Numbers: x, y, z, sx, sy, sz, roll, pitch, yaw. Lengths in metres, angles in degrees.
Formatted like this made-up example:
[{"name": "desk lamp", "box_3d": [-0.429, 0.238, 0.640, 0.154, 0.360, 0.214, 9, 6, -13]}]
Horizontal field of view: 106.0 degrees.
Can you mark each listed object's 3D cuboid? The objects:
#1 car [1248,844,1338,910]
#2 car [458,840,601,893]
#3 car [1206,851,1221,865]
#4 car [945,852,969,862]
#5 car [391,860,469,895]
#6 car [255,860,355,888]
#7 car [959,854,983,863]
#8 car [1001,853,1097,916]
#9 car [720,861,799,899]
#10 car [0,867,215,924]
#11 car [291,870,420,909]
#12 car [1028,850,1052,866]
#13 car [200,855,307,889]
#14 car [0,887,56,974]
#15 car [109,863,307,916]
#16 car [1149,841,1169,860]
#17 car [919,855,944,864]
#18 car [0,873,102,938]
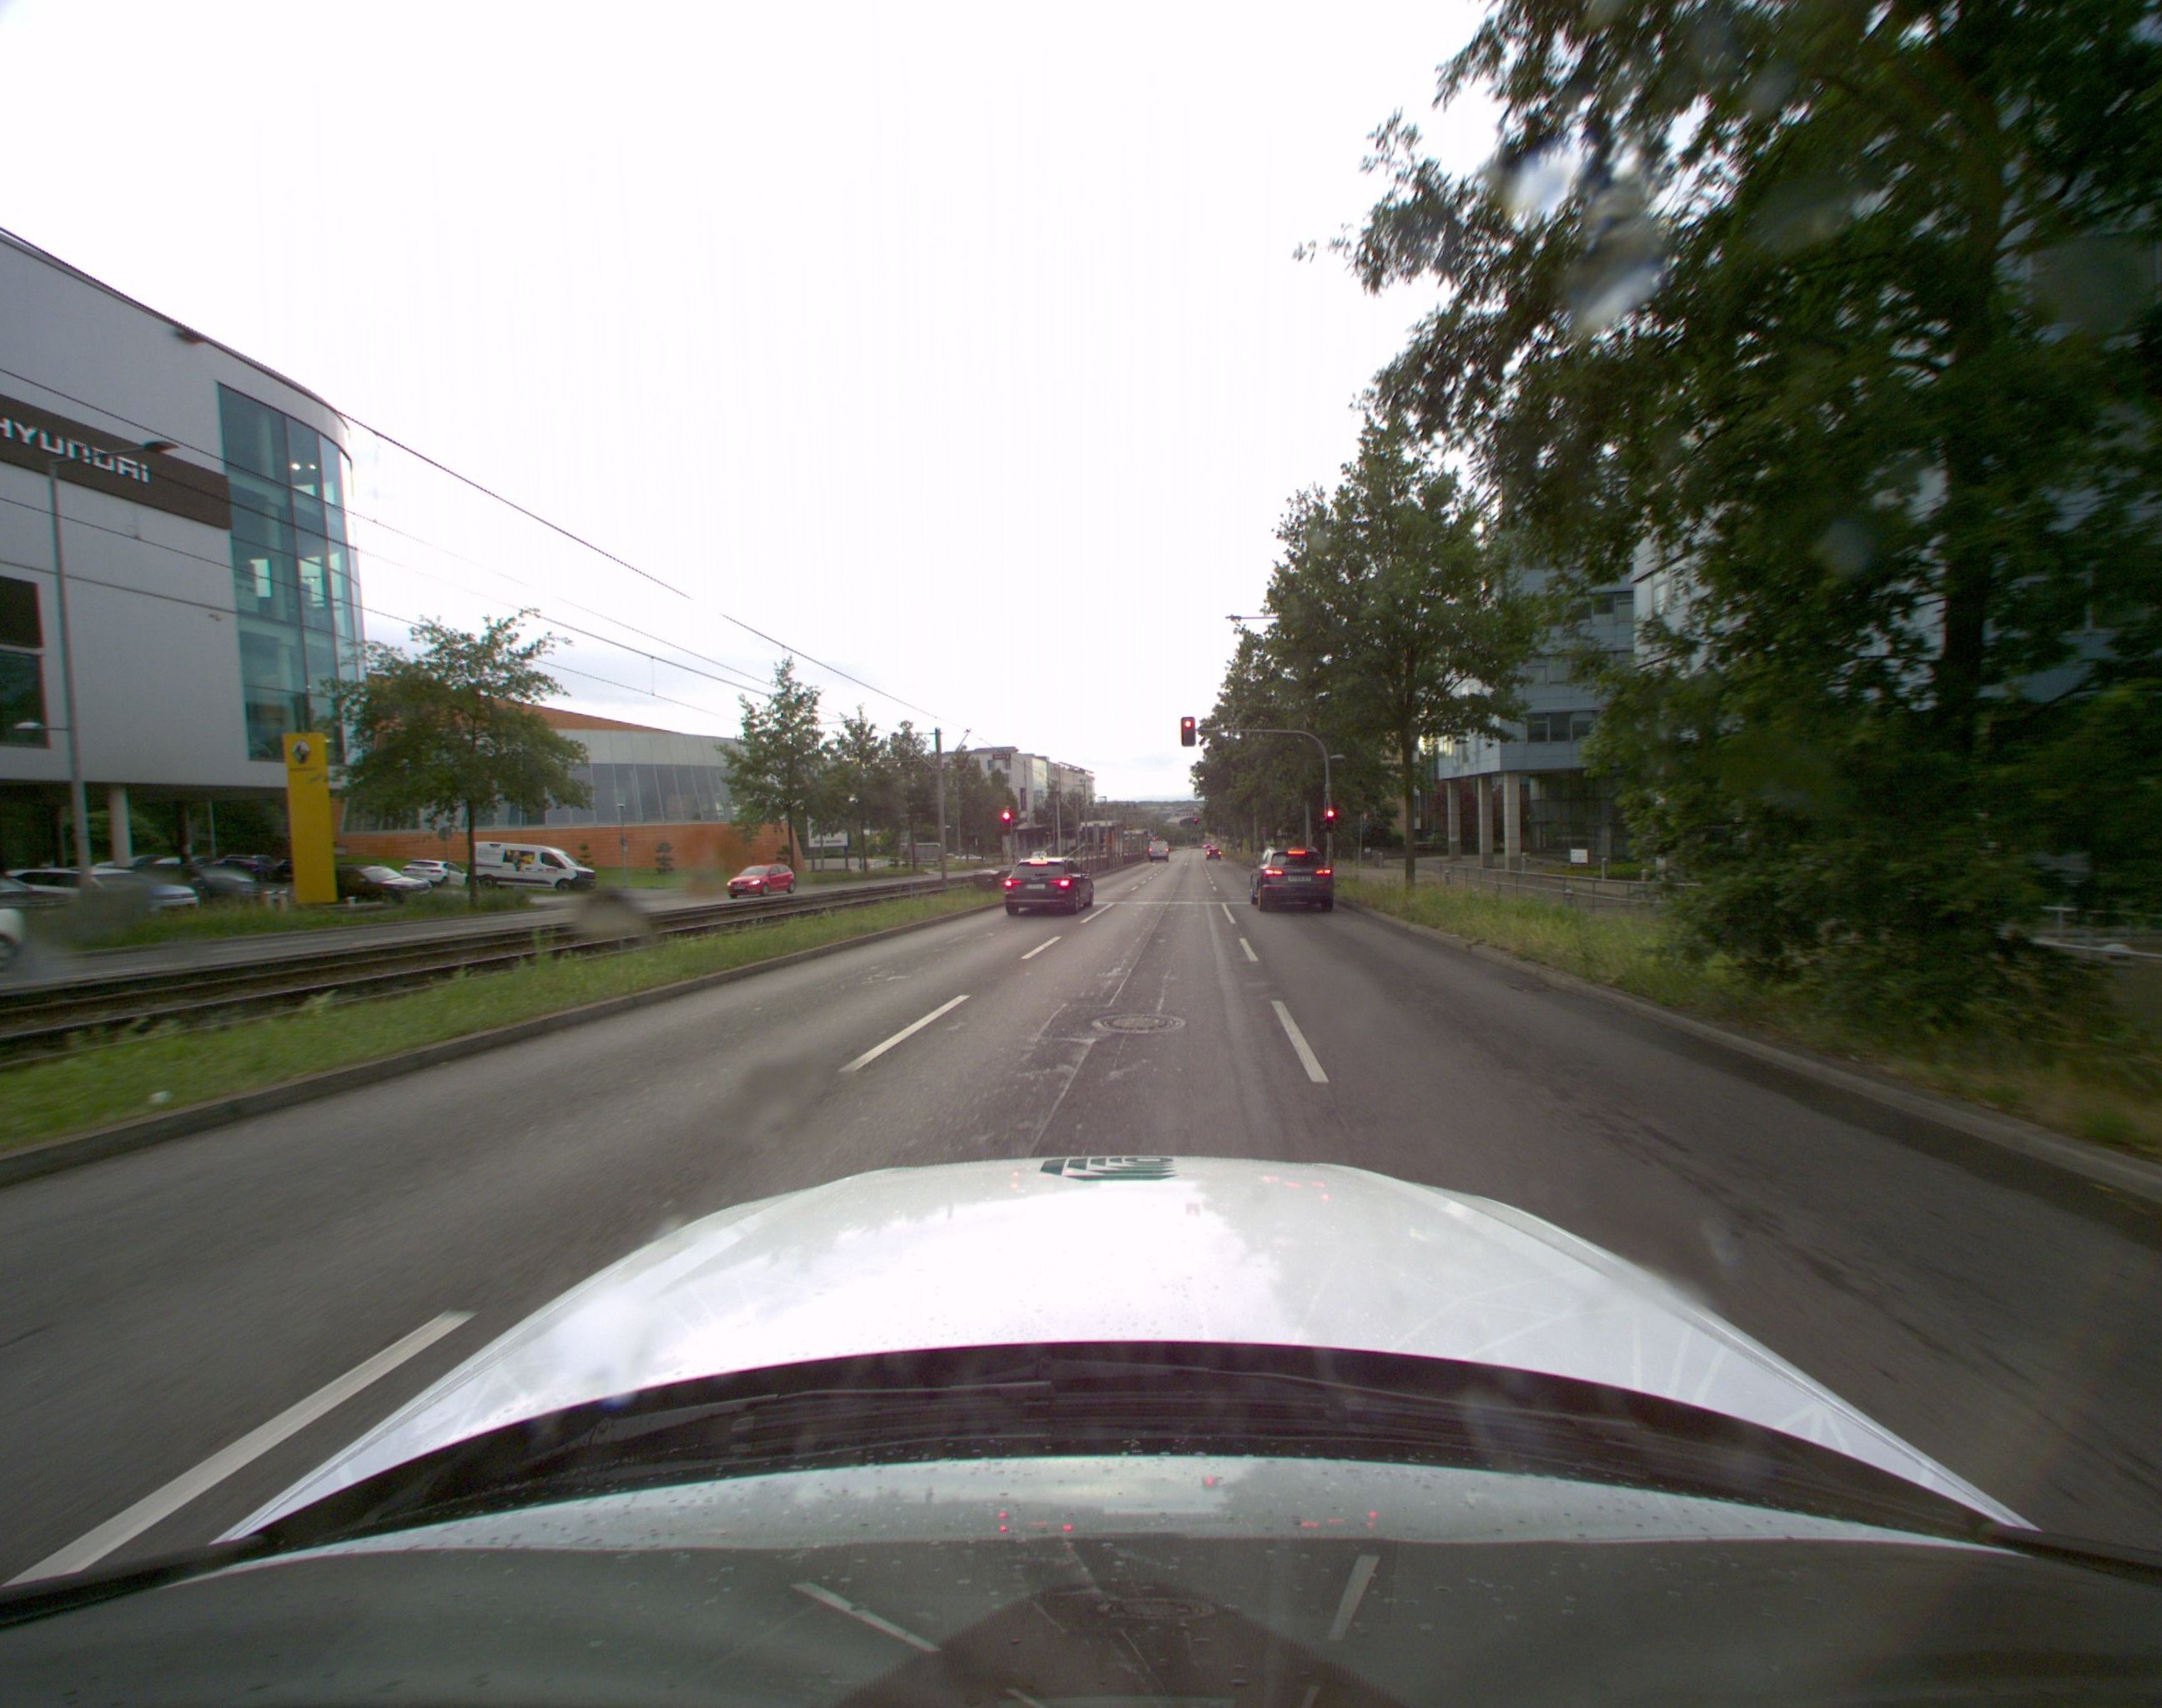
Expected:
[{"name": "car", "box_3d": [5.647, 0.558, 22.181, 1.808, 1.612, 4.480, -1, 0, 8]}, {"name": "car", "box_3d": [-28.690, 0.635, 42.608, 5.605, 2.581, 2.397, 1, 0, -10]}, {"name": "car", "box_3d": [16.460, 0.486, 101.433, 1.764, 1.691, 3.854, -1, 0, 8]}, {"name": "car", "box_3d": [-22.188, 0.526, 146.008, 4.085, 1.436, 1.652, -3, 0, -7]}, {"name": "car", "box_3d": [-33.709, 1.181, 42.276, 1.727, 1.665, 3.731, 0, 0, -14]}, {"name": "car", "box_3d": [-40.326, 0.996, 42.458, 1.996, 1.280, 3.982, -1, 0, -13]}, {"name": "car", "box_3d": [-19.342, 0.812, 143.097, 3.849, 1.436, 1.658, -3, 0, 5]}, {"name": "car", "box_3d": [-0.729, 0.726, 21.613, 1.770, 1.466, 4.523, -1, 0, 8]}, {"name": "car", "box_3d": [-14.646, 1.133, 37.323, 1.576, 1.513, 4.109, -3, 0, 6]}, {"name": "car", "box_3d": [-29.841, 1.242, 24.905, 4.351, 1.550, 1.998, 1, 0, -3]}, {"name": "car", "box_3d": [-28.494, 1.368, 32.033, 3.631, 1.391, 1.581, -1, 0, 1]}, {"name": "car", "box_3d": [-4.694, 0.402, 94.762, 1.984, 1.719, 4.849, -3, 0, 6]}, {"name": "car", "box_3d": [-42.597, 0.873, 42.048, 1.996, 1.632, 3.982, -1, 0, -13]}, {"name": "car", "box_3d": [-21.016, 1.443, 13.898, 1.676, 1.580, 4.105, -1, 0, 5]}, {"name": "car", "box_3d": [-29.642, 1.193, 27.782, 4.351, 1.615, 1.998, 1, 0, -3]}, {"name": "car", "box_3d": [8.825, -0.422, 91.584, 2.082, 2.054, 4.616, -1, 0, 7]}, {"name": "car", "box_3d": [-22.427, 0.852, 122.238, 3.338, 1.387, 1.441, -1, 0, 24]}, {"name": "car", "box_3d": [-29.843, 1.336, 21.903, 4.351, 1.550, 1.998, 1, 0, -3]}]
